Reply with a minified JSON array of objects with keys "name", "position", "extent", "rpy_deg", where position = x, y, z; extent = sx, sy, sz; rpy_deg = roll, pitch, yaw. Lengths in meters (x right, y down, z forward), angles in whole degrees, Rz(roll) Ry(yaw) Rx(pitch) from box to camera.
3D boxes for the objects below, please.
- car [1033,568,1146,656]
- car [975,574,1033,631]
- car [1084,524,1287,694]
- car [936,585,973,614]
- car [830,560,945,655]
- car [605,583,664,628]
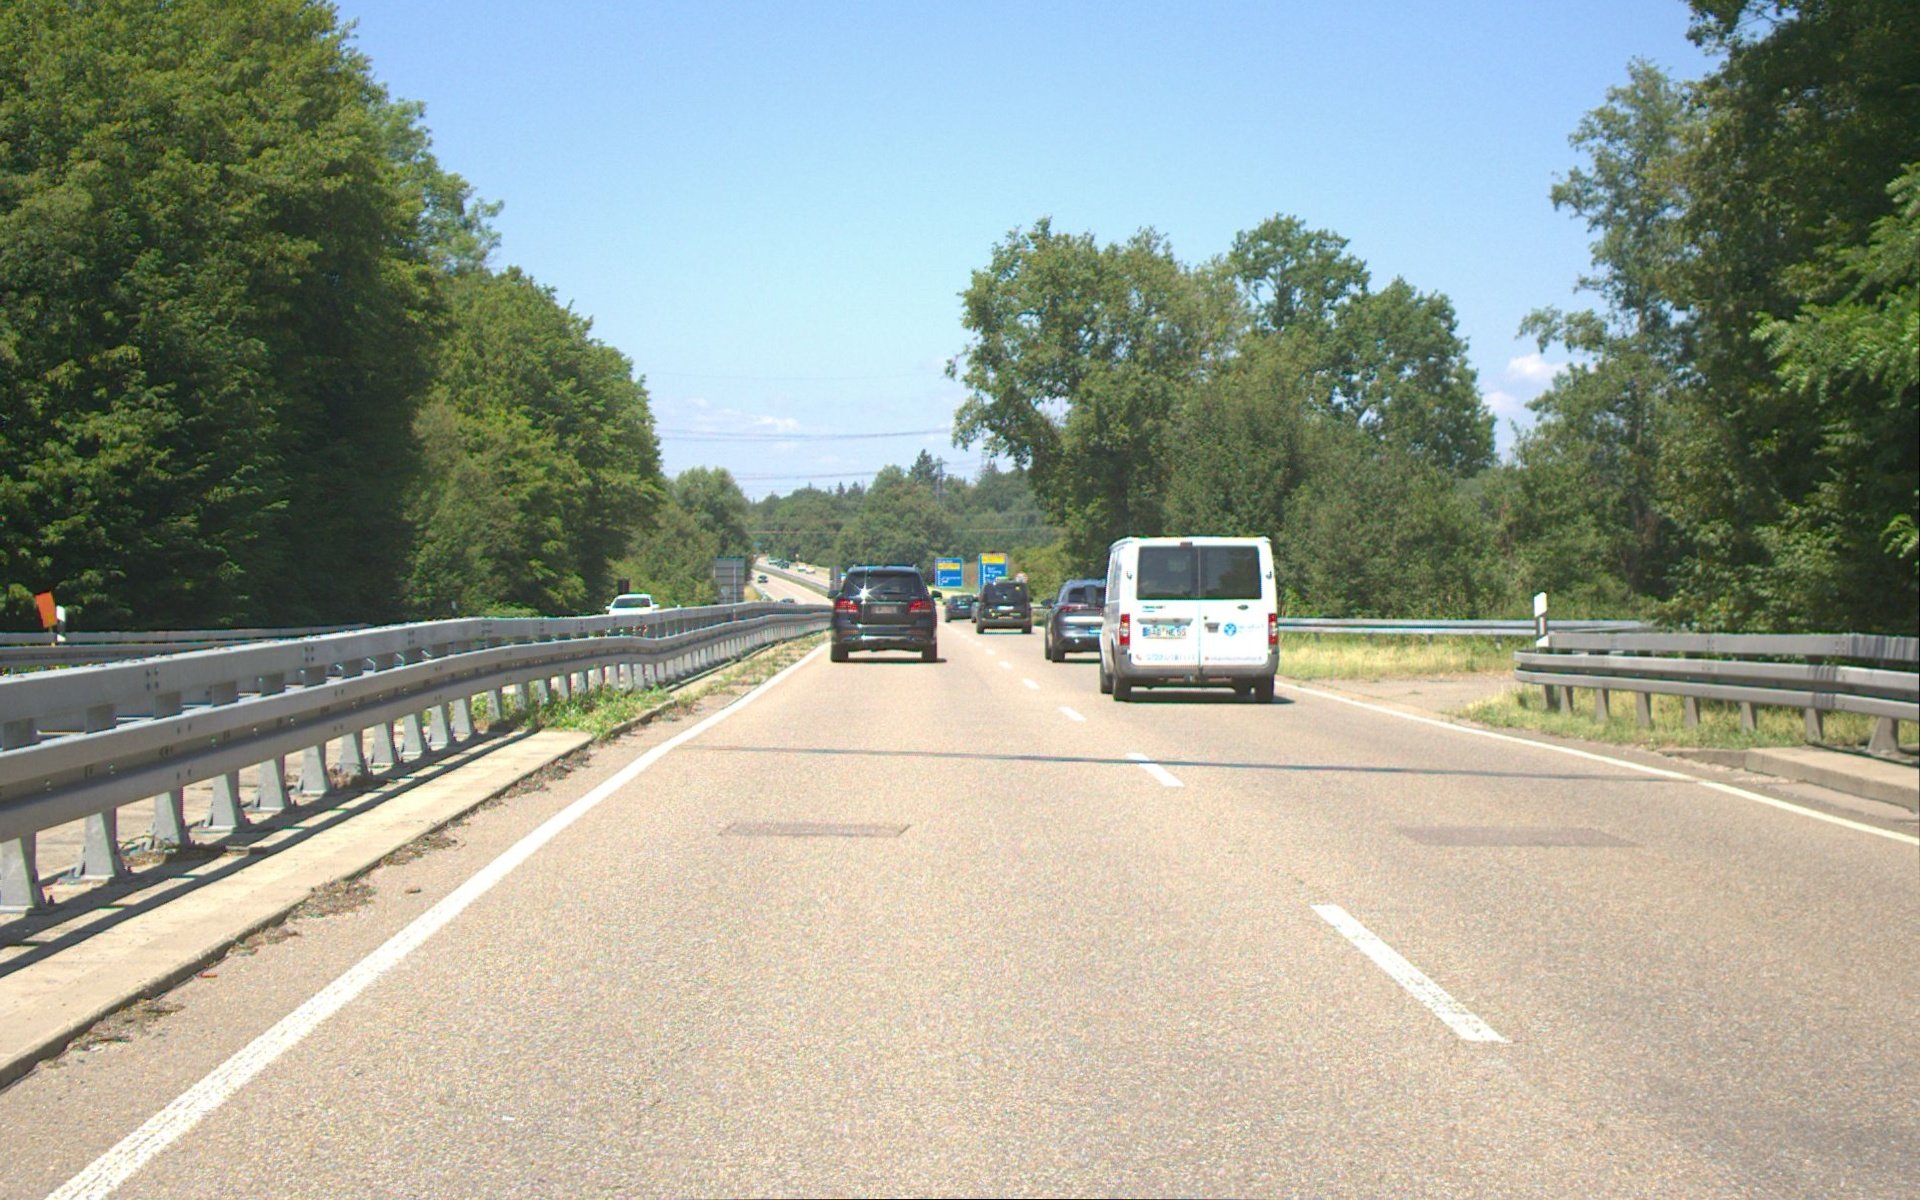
[{"name":"car","position":[2.374,0.194,63.857],"extent":[1.785,1.548,4.019],"rpy_deg":[-1,1,-2]},{"name":"car","position":[1.488,0.070,116.756],"extent":[1.779,1.810,4.213],"rpy_deg":[-1,1,-1]},{"name":"car","position":[2.727,0.114,42.696],"extent":[2.005,1.982,5.034],"rpy_deg":[0,0,-2]},{"name":"car","position":[-0.289,-0.014,181.346],"extent":[1.819,1.409,4.000],"rpy_deg":[-2,1,-2]},{"name":"car","position":[-1.353,0.111,62.987],"extent":[1.993,1.649,4.001],"rpy_deg":[0,1,-3]},{"name":"car","position":[-12.196,0.180,129.051],"extent":[1.818,1.593,4.841],"rpy_deg":[-2,0,-1]}]
